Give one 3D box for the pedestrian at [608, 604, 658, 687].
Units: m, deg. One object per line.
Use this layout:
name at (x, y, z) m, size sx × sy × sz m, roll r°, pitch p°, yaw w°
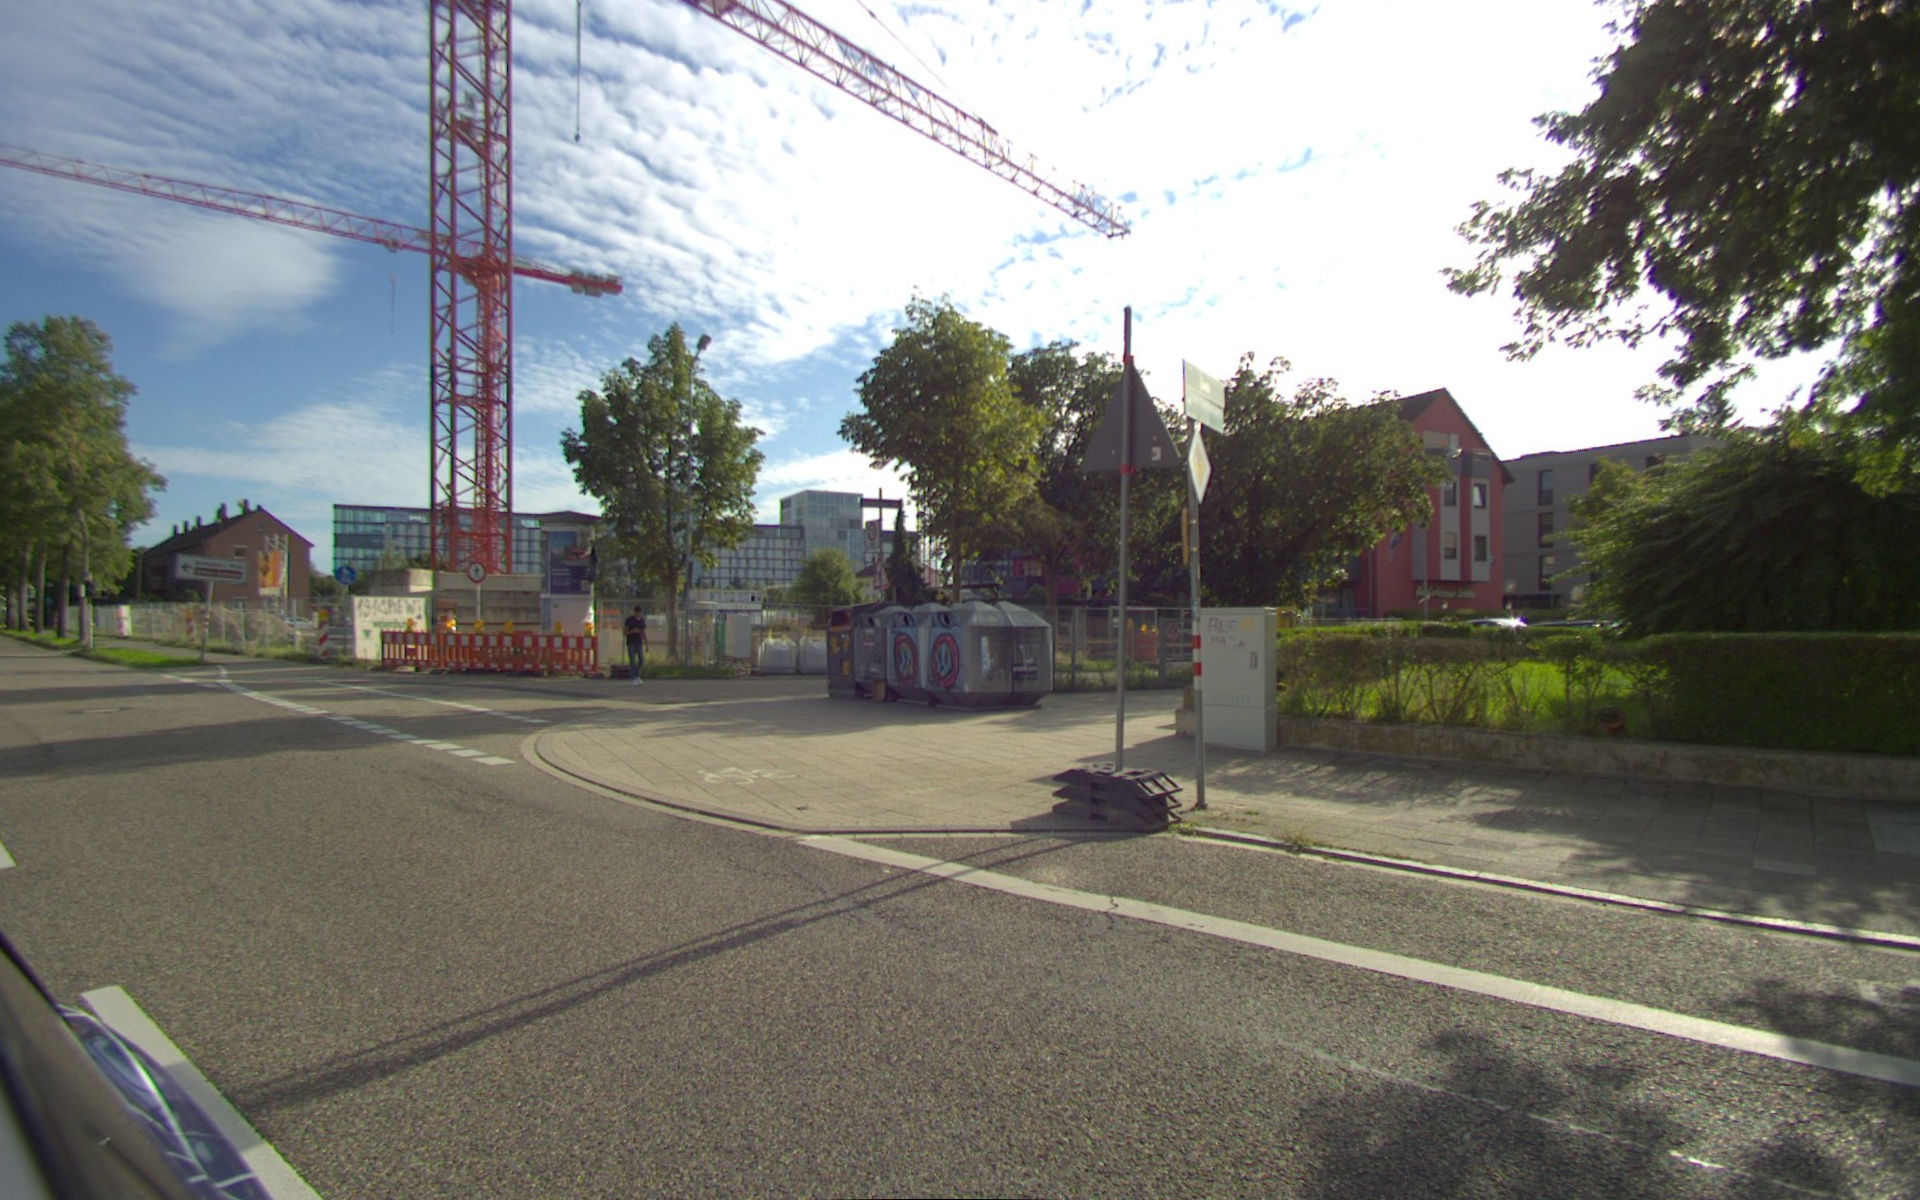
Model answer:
pedestrian at (-7.190, 0.997, 22.269) m, size 0.774 × 1.782 × 0.734 m, roll -1°, pitch -3°, yaw 39°
